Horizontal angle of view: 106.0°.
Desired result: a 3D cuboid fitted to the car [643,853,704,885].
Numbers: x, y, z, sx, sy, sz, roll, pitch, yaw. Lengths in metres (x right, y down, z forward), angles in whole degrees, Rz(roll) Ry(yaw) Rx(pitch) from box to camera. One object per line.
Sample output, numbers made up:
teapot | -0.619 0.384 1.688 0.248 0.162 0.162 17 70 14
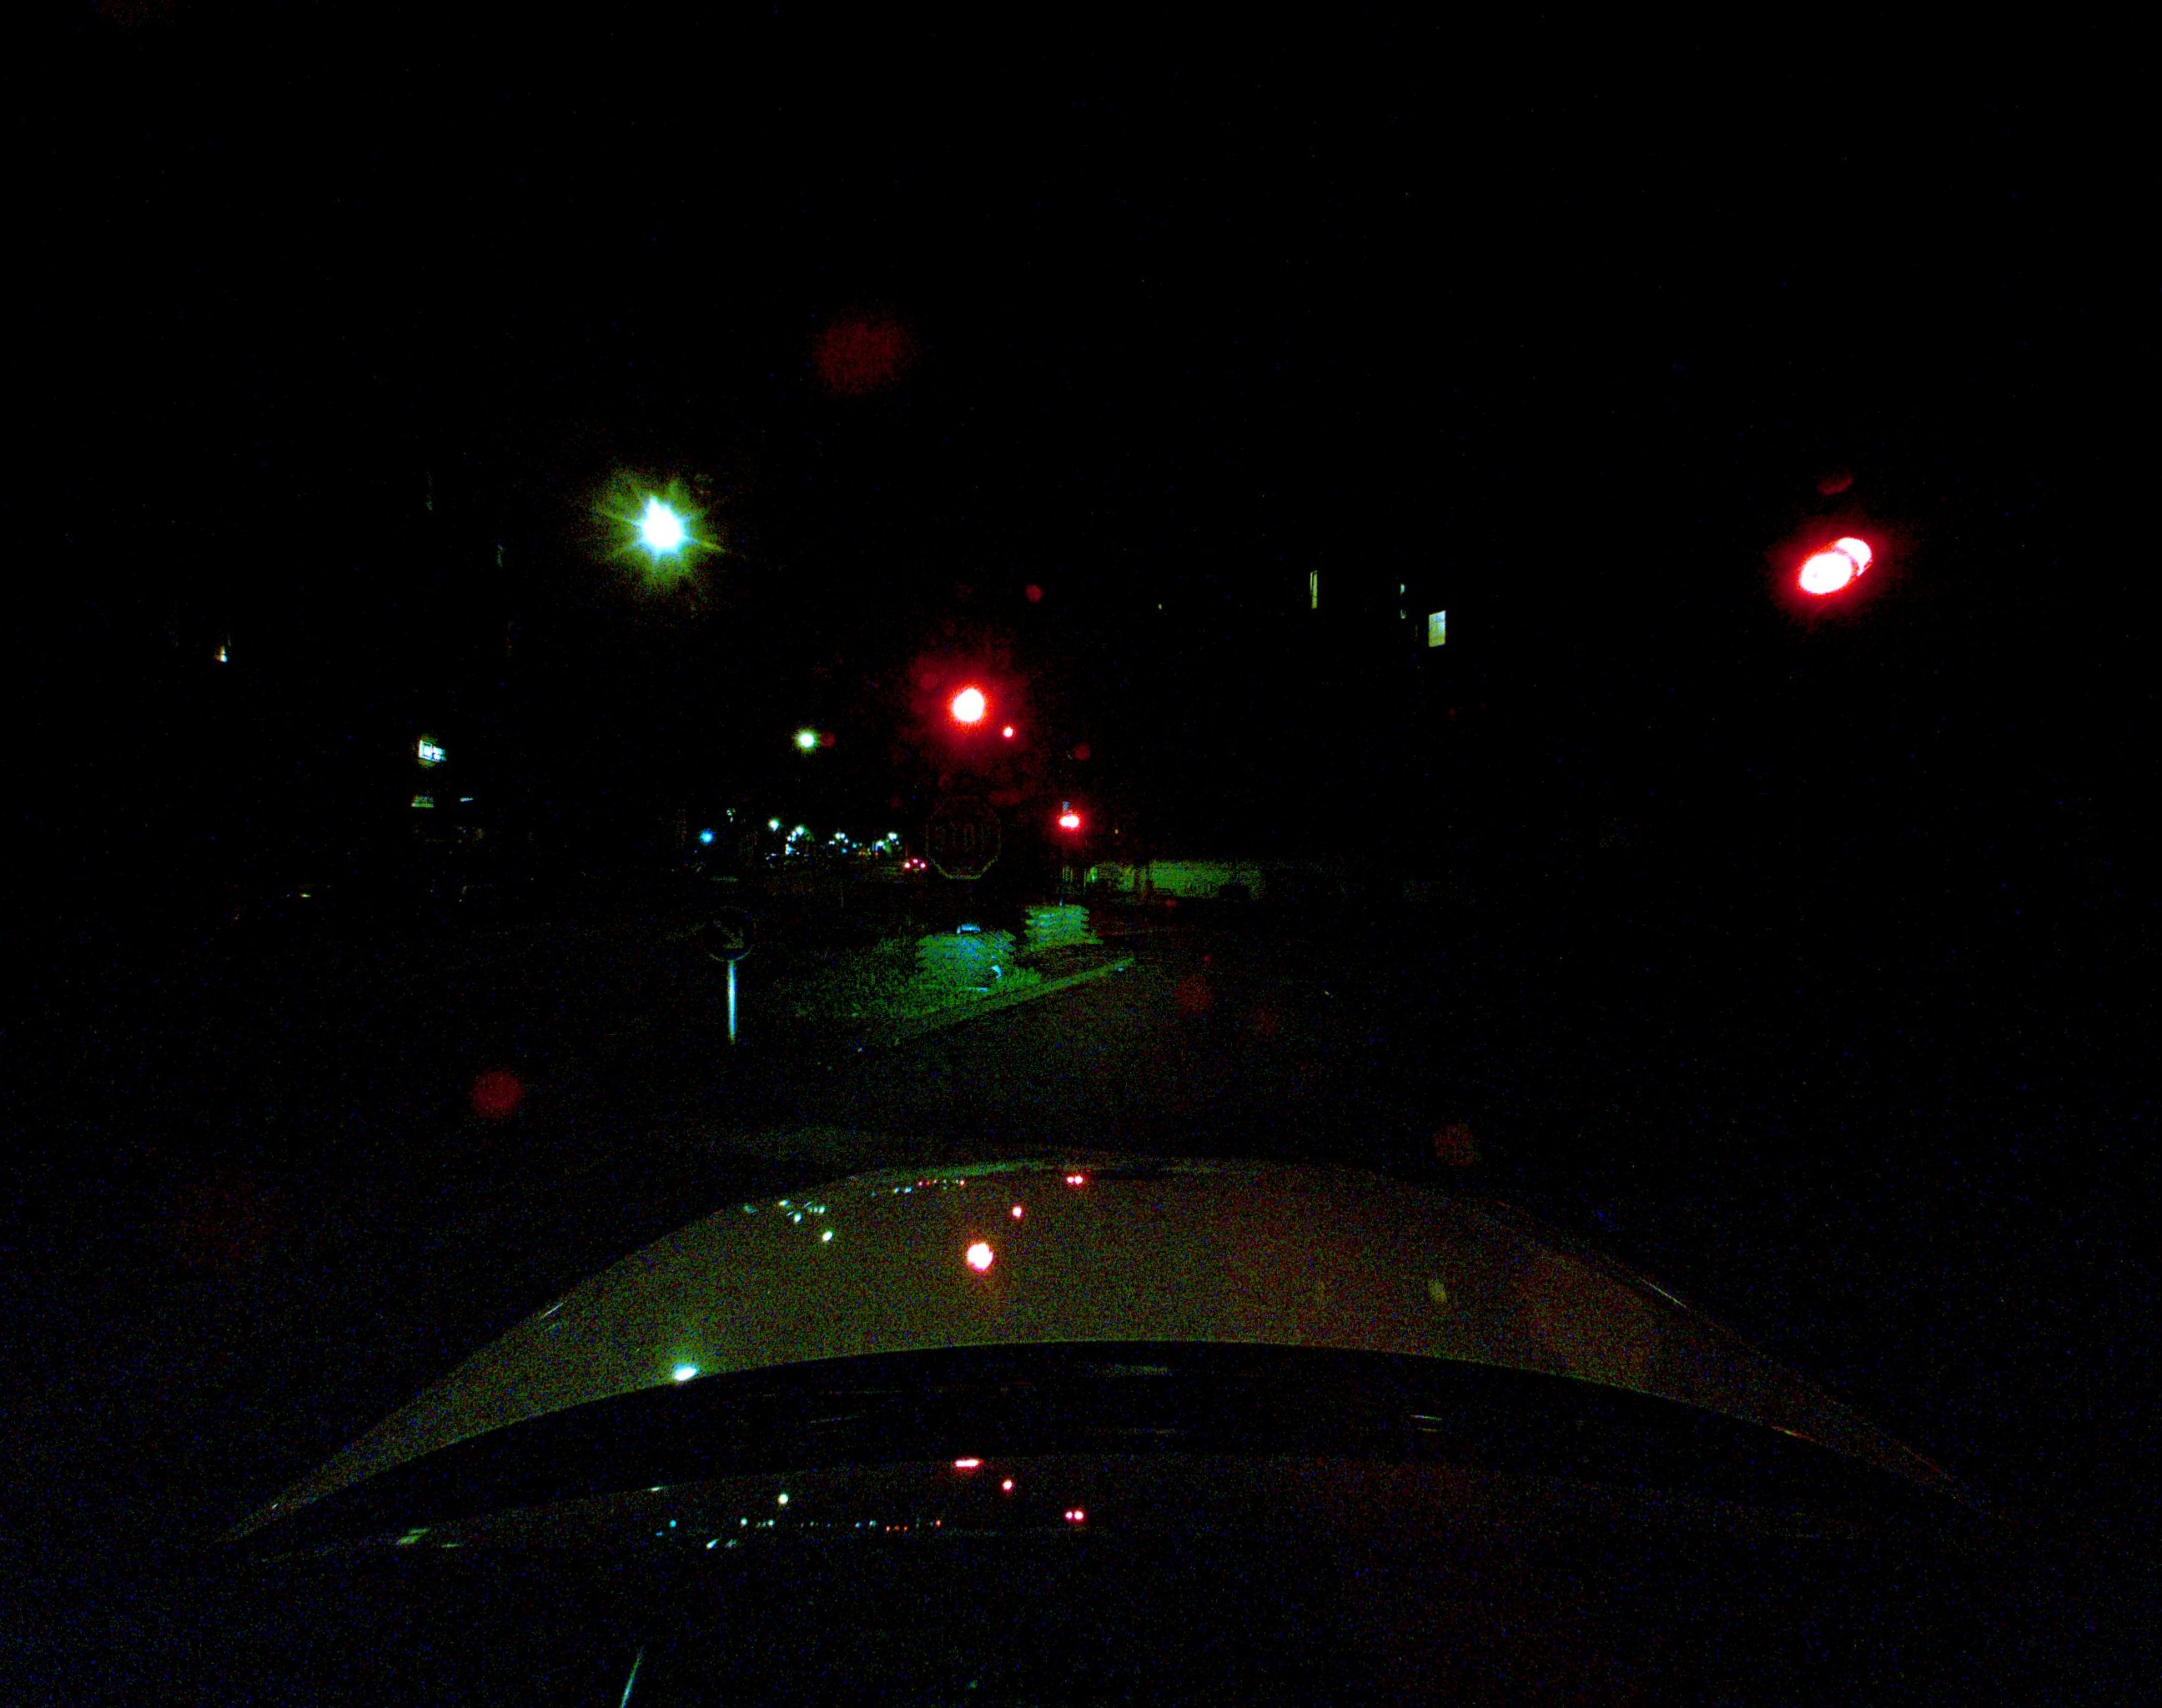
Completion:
car | -18.954 0.685 38.052 1.653 1.431 3.982 1 0 -13

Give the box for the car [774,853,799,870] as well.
car | -26.490 0.678 73.354 1.653 1.431 3.982 1 0 -13

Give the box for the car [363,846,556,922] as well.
car | -13.666 0.625 18.267 1.806 1.481 4.302 1 -1 -14

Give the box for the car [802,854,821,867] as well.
car | -30.859 0.756 93.196 1.653 1.431 3.982 1 0 -13

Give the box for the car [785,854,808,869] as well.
car | -27.859 0.745 79.853 1.653 1.431 3.982 1 0 -13

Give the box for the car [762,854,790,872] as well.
car | -25.185 0.752 67.290 1.653 1.431 3.982 1 0 -13

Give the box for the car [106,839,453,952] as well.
car | -12.589 0.581 13.304 1.901 1.471 4.432 3 -1 -13

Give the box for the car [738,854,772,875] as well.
car | -23.707 0.746 59.280 1.653 1.431 3.982 1 0 -13

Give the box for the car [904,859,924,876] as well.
car | -14.868 1.158 72.421 1.652 1.431 3.984 1 0 -12
